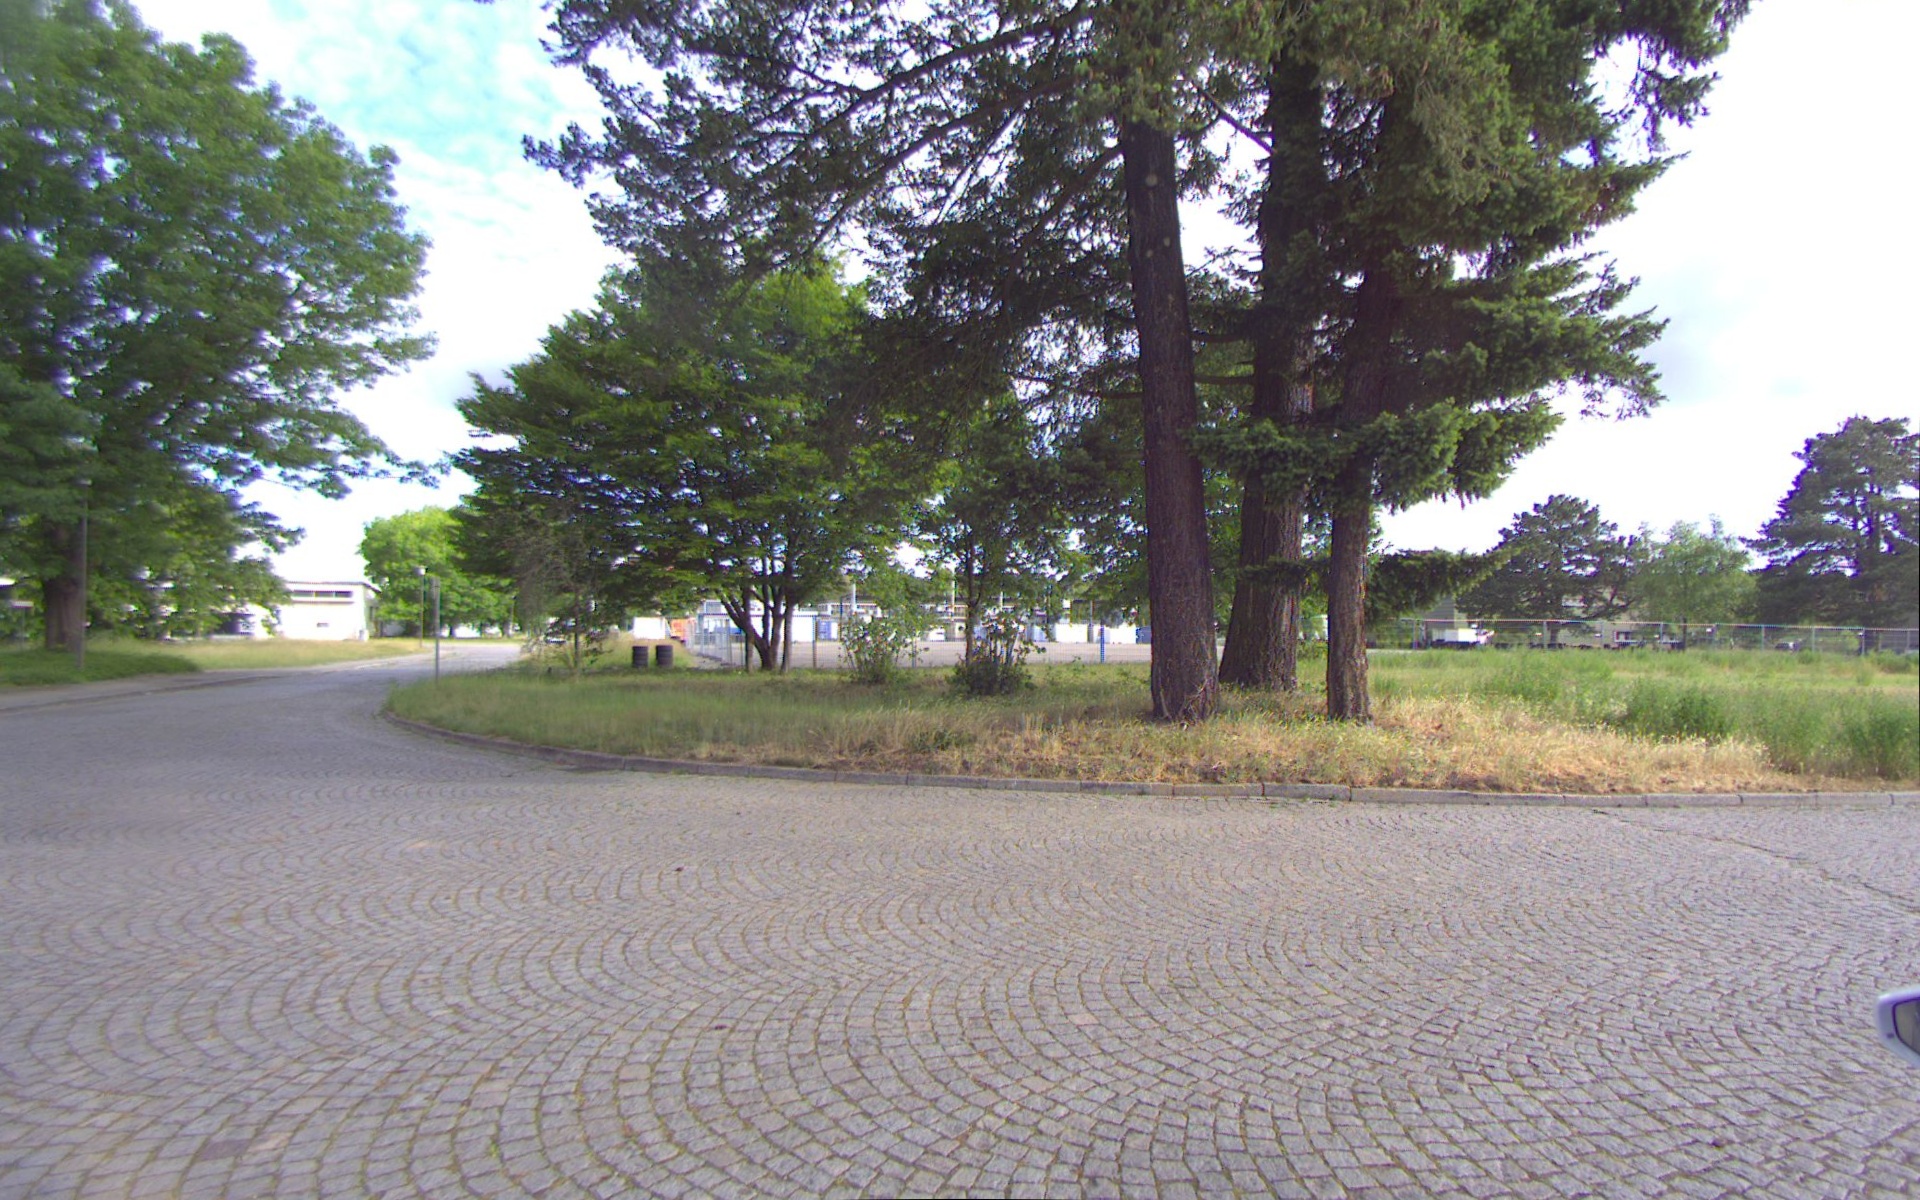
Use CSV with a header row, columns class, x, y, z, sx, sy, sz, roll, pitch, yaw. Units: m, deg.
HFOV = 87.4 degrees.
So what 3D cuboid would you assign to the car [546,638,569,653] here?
class,x,y,z,sx,sy,sz,roll,pitch,yaw
car,-41.138,4.602,102.664,1.825,1.456,4.688,0,-2,-18
